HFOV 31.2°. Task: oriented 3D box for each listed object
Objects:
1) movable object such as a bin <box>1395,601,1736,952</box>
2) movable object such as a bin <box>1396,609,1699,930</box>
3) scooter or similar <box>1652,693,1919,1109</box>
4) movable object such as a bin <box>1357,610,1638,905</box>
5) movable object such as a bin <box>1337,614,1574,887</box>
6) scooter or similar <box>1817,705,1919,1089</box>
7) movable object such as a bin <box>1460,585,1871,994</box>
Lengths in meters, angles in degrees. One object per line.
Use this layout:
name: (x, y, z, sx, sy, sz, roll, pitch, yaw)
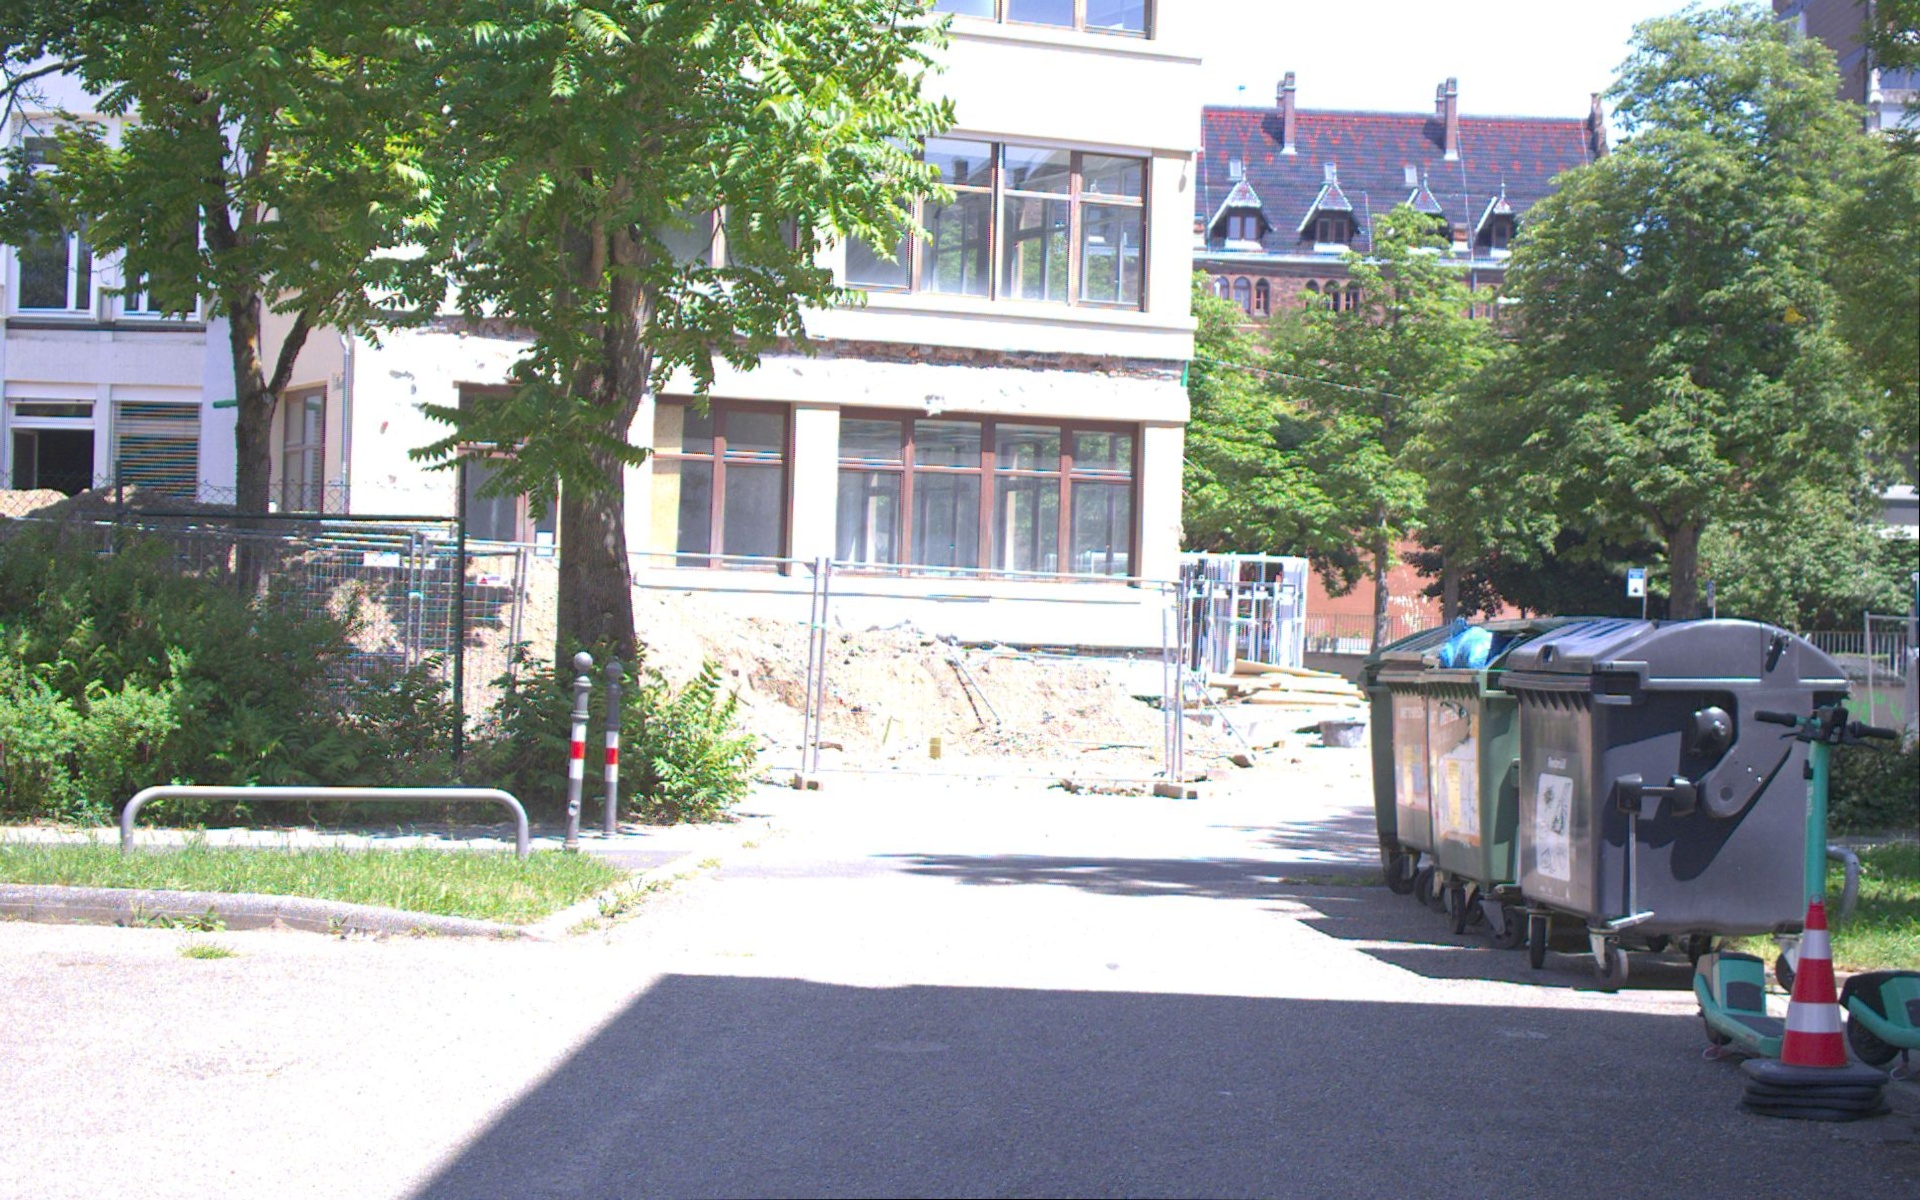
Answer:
movable object such as a bin: (2.687, 0.770, 15.419, 1.179, 1.465, 1.311, 2, -1, -4)
movable object such as a bin: (2.843, 0.808, 16.797, 1.179, 1.465, 1.311, 2, -1, -1)
scooter or similar: (2.599, 0.896, 10.673, 0.463, 1.170, 1.357, 2, -1, -6)
movable object such as a bin: (2.827, 0.816, 18.240, 1.179, 1.465, 1.311, 2, -1, -3)
movable object such as a bin: (2.871, 0.851, 19.779, 1.179, 1.465, 1.332, 2, -1, 14)
scooter or similar: (3.203, 0.934, 10.694, 0.463, 1.170, 1.256, 2, -1, -15)
movable object such as a bin: (2.767, 0.729, 13.679, 1.155, 1.500, 1.463, 2, -1, -6)
